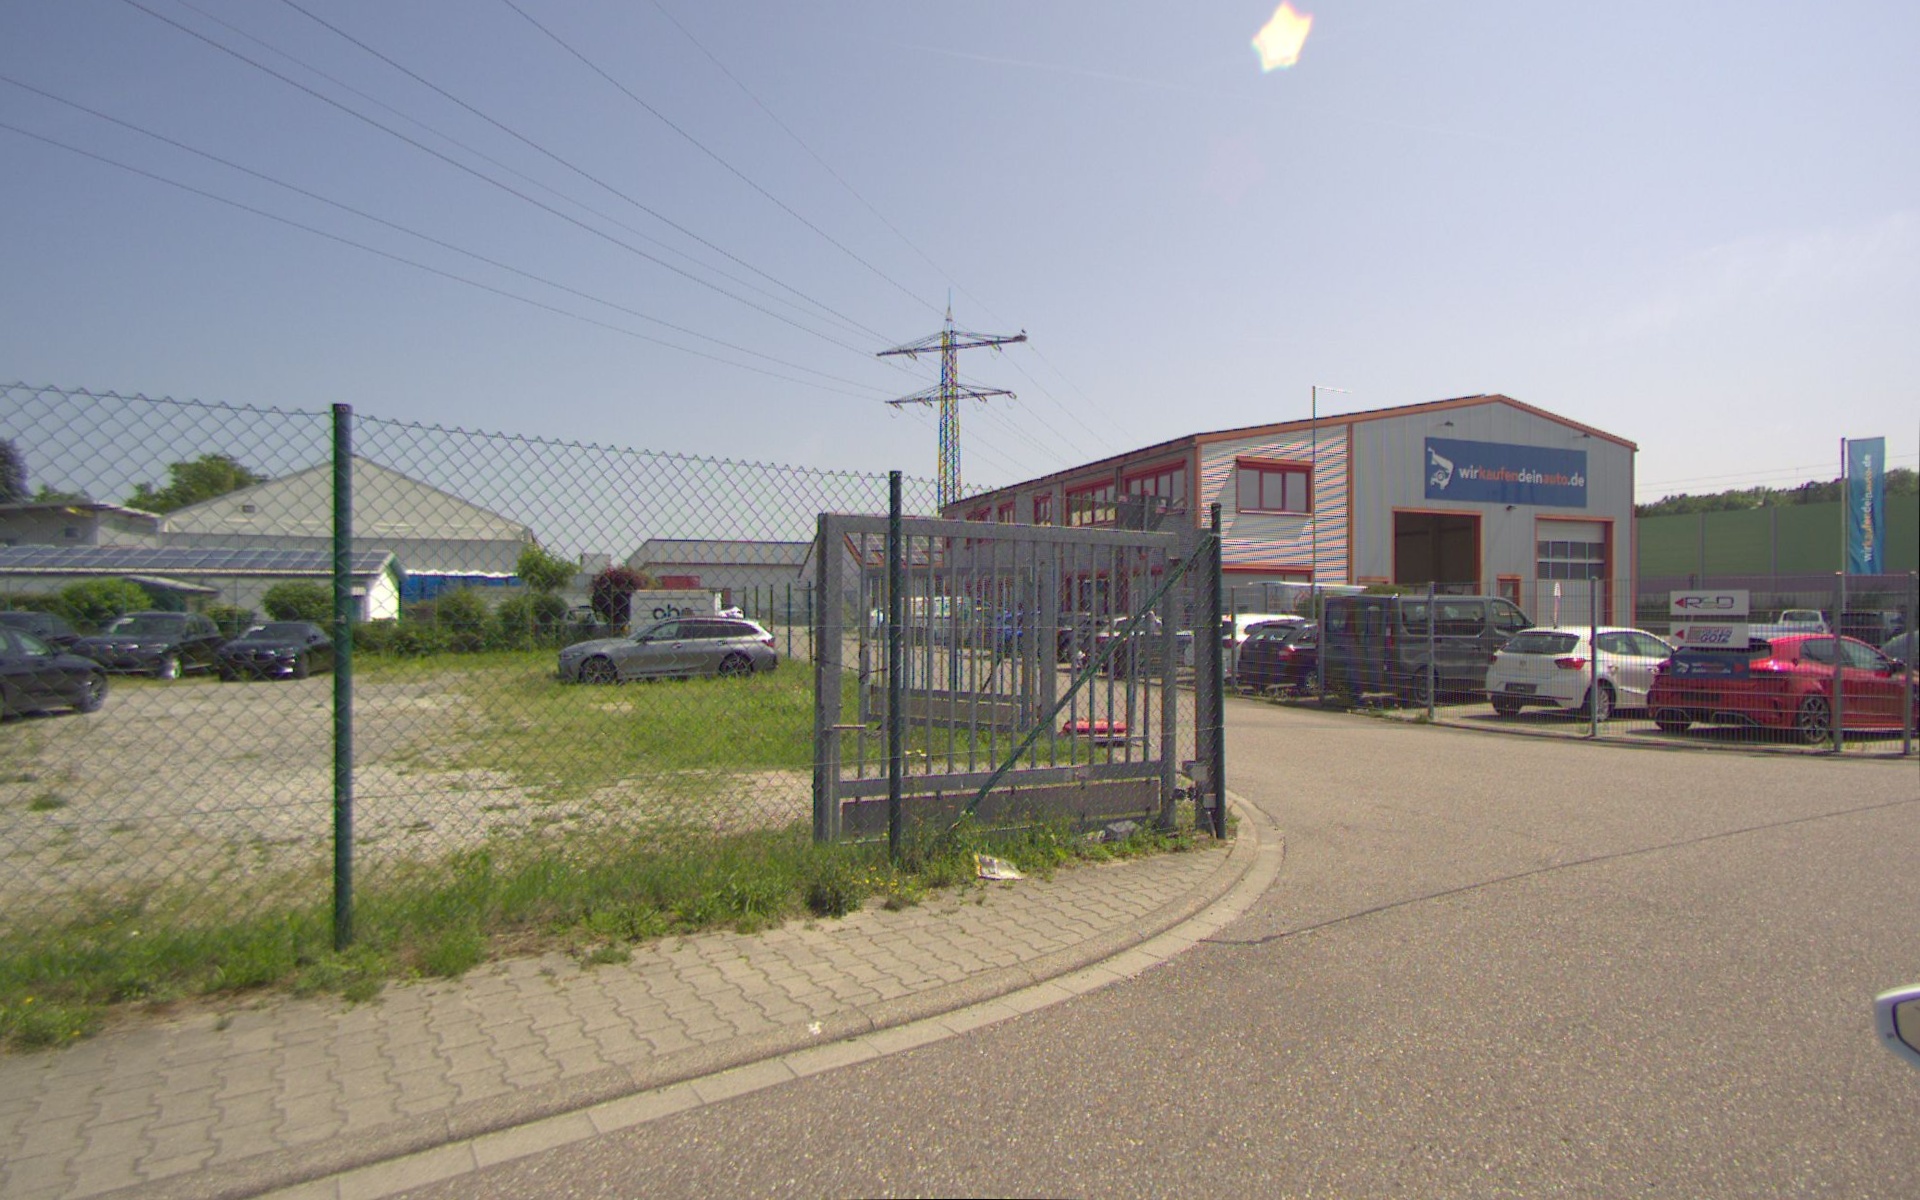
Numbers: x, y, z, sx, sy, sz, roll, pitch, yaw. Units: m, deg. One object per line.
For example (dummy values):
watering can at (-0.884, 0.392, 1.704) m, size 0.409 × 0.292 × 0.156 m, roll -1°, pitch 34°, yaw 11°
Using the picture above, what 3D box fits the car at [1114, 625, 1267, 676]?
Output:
car at (5.781, 1.238, 25.214) m, size 3.551 × 1.167 × 1.500 m, roll 0°, pitch -1°, yaw -22°

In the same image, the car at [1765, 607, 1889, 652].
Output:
car at (32.302, 1.055, 37.425) m, size 3.943 × 1.603 × 1.989 m, roll 0°, pitch -1°, yaw -24°

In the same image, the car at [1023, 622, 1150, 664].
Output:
car at (3.806, 1.271, 30.203) m, size 3.551 × 1.167 × 1.500 m, roll 0°, pitch -1°, yaw -22°

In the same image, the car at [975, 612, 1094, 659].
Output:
car at (2.383, 1.113, 32.276) m, size 3.551 × 1.435 × 1.500 m, roll 0°, pitch -1°, yaw -22°

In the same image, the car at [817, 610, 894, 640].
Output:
car at (-5.565, 1.309, 53.555) m, size 3.849 × 1.580 × 1.500 m, roll 0°, pitch -1°, yaw -22°

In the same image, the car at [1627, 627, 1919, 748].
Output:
car at (11.441, 1.104, 13.780) m, size 4.053 × 1.405 × 1.866 m, roll 0°, pitch -1°, yaw -22°

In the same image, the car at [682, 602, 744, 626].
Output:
car at (-14.477, 0.792, 58.838) m, size 3.288 × 1.360 × 1.657 m, roll 0°, pitch -1°, yaw -24°

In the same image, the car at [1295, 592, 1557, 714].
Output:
car at (8.691, 0.909, 18.740) m, size 4.451 × 2.057 × 1.947 m, roll 0°, pitch -1°, yaw -22°

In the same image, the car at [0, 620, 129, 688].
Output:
car at (-21.935, 1.216, 23.849) m, size 1.972 × 1.454 × 4.643 m, roll 0°, pitch -1°, yaw -21°

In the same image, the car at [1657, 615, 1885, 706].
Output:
car at (14.381, 1.013, 17.803) m, size 3.837 × 1.474 × 1.481 m, roll 0°, pitch -1°, yaw -22°

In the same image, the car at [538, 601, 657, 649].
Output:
car at (-12.946, 0.887, 36.035) m, size 3.938 × 1.619 × 1.869 m, roll 0°, pitch -1°, yaw -20°

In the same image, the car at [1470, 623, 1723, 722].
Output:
car at (10.285, 1.105, 16.264) m, size 3.551 × 1.423 × 1.742 m, roll 0°, pitch -1°, yaw -22°

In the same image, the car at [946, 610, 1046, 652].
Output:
car at (1.382, 1.172, 38.729) m, size 3.551 × 1.564 × 1.500 m, roll 0°, pitch -1°, yaw -22°

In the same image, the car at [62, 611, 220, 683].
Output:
car at (-19.547, 1.078, 24.181) m, size 1.841 × 1.575 × 3.752 m, roll 0°, pitch -1°, yaw -21°

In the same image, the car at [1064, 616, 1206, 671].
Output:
car at (4.740, 1.149, 27.179) m, size 3.551 × 1.399 × 1.500 m, roll 0°, pitch -1°, yaw -22°

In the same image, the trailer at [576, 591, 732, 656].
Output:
trailer at (-9.423, 0.709, 31.212) m, size 4.378 × 1.971 × 1.712 m, roll 0°, pitch 0°, yaw -6°

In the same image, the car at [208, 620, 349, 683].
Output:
car at (-17.320, 1.244, 25.786) m, size 1.972 × 1.454 × 4.643 m, roll 0°, pitch -1°, yaw -21°

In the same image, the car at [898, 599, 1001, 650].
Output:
car at (-0.435, 0.966, 41.000) m, size 3.849 × 2.005 × 1.814 m, roll 0°, pitch -1°, yaw -22°

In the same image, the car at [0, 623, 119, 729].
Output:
car at (-14.667, 1.086, 14.734) m, size 1.970 × 1.454 × 4.406 m, roll 0°, pitch -1°, yaw -17°

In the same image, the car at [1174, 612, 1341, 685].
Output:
car at (6.836, 1.064, 23.089) m, size 3.551 × 1.560 × 1.500 m, roll 0°, pitch -1°, yaw -22°

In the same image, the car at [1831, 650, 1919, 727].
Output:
car at (15.347, 1.300, 15.292) m, size 4.053 × 1.020 × 1.481 m, roll 0°, pitch -1°, yaw -22°

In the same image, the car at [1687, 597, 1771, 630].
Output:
car at (40.266, 0.708, 52.595) m, size 3.940 × 1.679 × 1.696 m, roll 0°, pitch 0°, yaw -21°

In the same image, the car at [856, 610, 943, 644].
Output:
car at (-2.864, 1.255, 47.543) m, size 3.849 × 1.536 × 1.500 m, roll 0°, pitch -1°, yaw -22°

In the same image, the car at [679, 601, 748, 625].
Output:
car at (-13.852, 0.723, 56.429) m, size 3.630 × 1.360 × 1.658 m, roll 0°, pitch -1°, yaw -22°

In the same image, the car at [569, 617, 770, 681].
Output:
car at (-6.238, 1.006, 21.670) m, size 4.082 × 1.277 × 1.229 m, roll 0°, pitch -1°, yaw -22°

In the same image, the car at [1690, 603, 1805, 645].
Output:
car at (31.333, 0.945, 39.959) m, size 3.943 × 1.603 × 1.989 m, roll 0°, pitch -1°, yaw -24°
